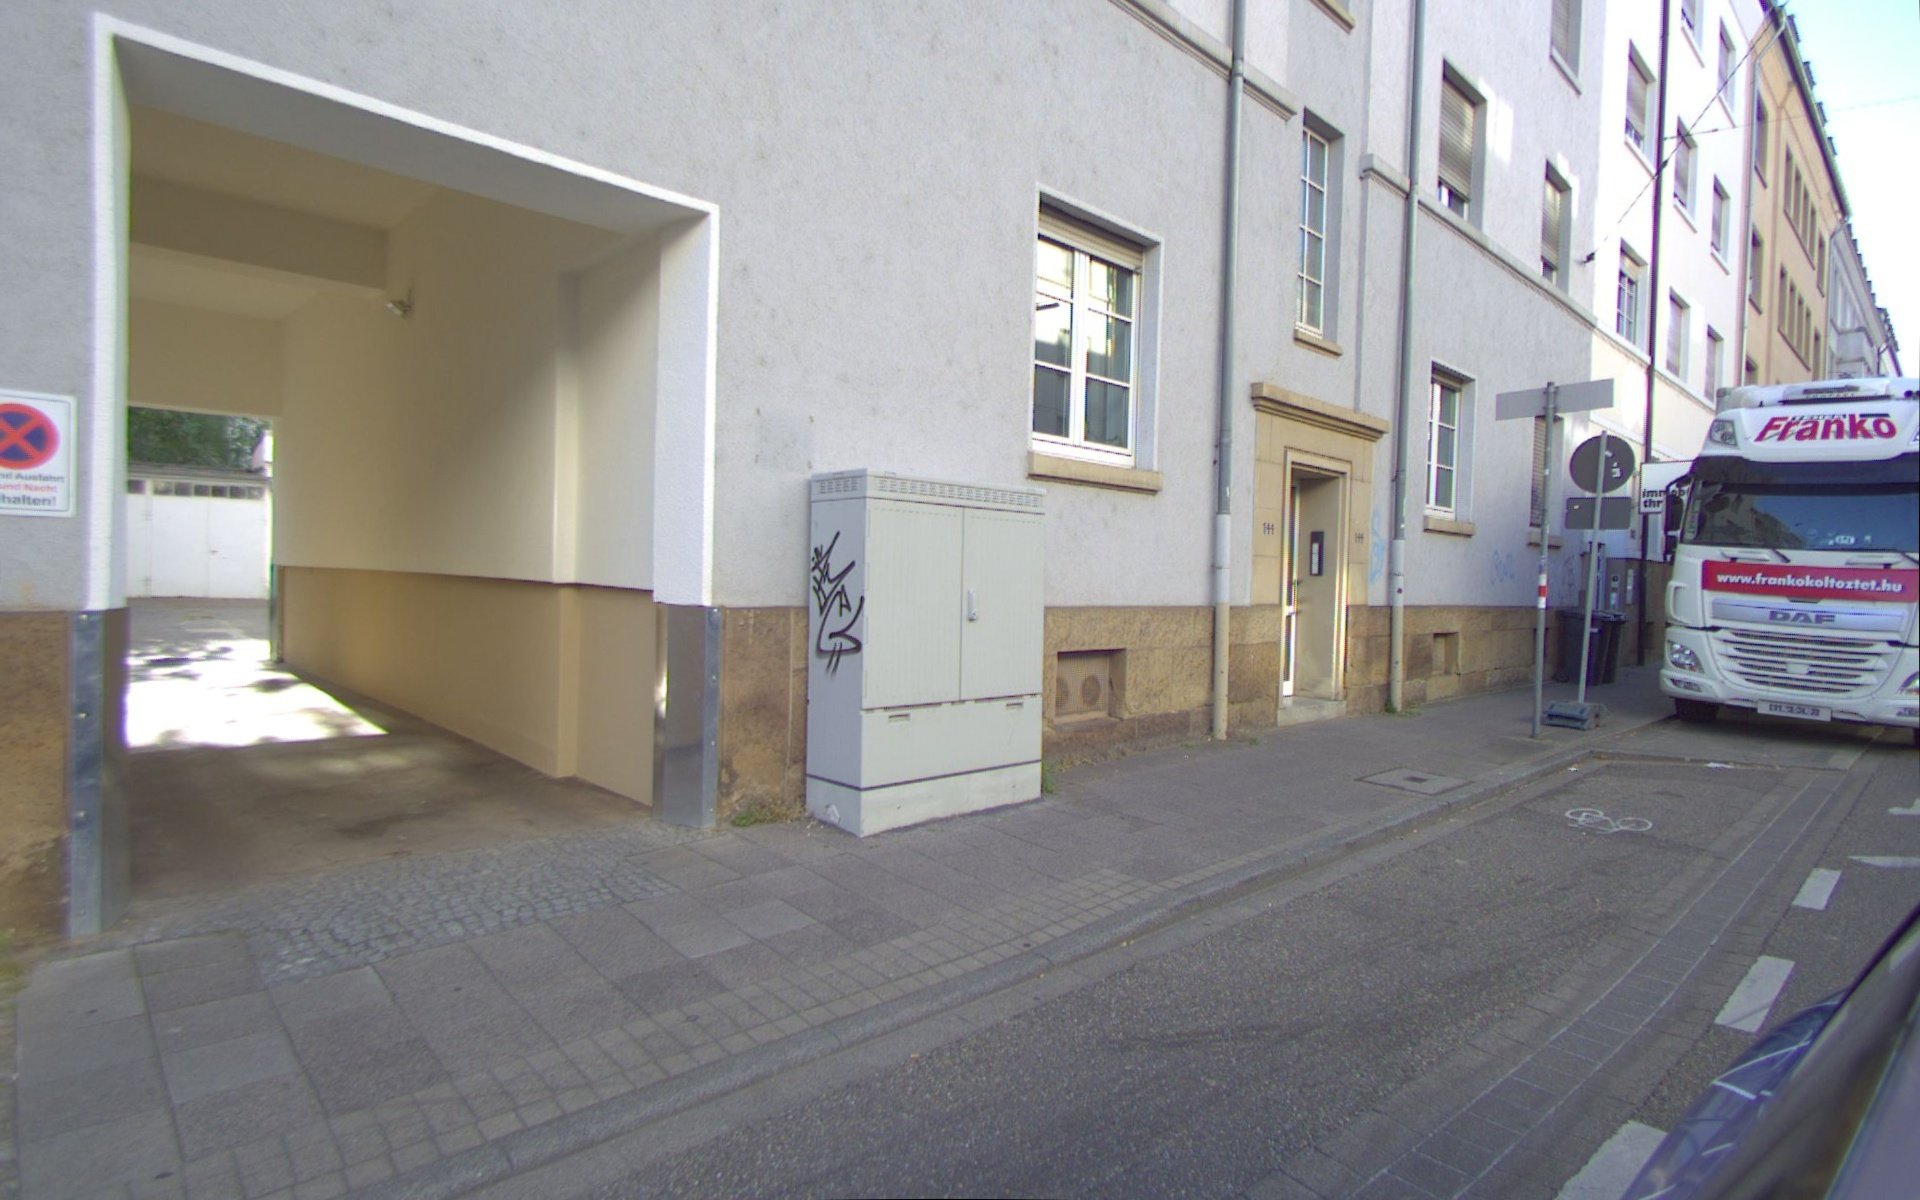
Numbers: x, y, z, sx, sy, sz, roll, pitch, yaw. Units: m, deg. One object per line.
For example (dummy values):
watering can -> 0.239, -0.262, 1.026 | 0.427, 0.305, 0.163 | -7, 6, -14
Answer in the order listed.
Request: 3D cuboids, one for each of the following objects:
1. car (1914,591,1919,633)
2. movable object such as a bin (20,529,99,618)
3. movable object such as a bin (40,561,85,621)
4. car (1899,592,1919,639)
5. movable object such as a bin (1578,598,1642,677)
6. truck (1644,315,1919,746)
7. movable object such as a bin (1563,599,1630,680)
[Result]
car -> 37.683, 0.460, 38.634 | 4.080, 1.551, 1.681 | 0, 0, -44
movable object such as a bin -> -15.146, -0.455, 17.021 | 0.946, 1.426, 1.597 | 0, 2, -43
movable object such as a bin -> -14.369, -0.148, 16.203 | 0.518, 0.922, 0.580 | 0, 2, -43
car -> 33.513, 0.528, 34.736 | 4.080, 1.551, 1.681 | 0, 0, -44
movable object such as a bin -> 9.658, 0.542, 15.042 | 0.560, 1.107, 0.665 | 0, 2, -43
truck -> 12.583, -0.680, 13.884 | 11.621, 3.975, 2.778 | 0, 2, -44
movable object such as a bin -> 9.178, 0.550, 14.591 | 0.560, 1.107, 0.665 | 0, 2, -43
